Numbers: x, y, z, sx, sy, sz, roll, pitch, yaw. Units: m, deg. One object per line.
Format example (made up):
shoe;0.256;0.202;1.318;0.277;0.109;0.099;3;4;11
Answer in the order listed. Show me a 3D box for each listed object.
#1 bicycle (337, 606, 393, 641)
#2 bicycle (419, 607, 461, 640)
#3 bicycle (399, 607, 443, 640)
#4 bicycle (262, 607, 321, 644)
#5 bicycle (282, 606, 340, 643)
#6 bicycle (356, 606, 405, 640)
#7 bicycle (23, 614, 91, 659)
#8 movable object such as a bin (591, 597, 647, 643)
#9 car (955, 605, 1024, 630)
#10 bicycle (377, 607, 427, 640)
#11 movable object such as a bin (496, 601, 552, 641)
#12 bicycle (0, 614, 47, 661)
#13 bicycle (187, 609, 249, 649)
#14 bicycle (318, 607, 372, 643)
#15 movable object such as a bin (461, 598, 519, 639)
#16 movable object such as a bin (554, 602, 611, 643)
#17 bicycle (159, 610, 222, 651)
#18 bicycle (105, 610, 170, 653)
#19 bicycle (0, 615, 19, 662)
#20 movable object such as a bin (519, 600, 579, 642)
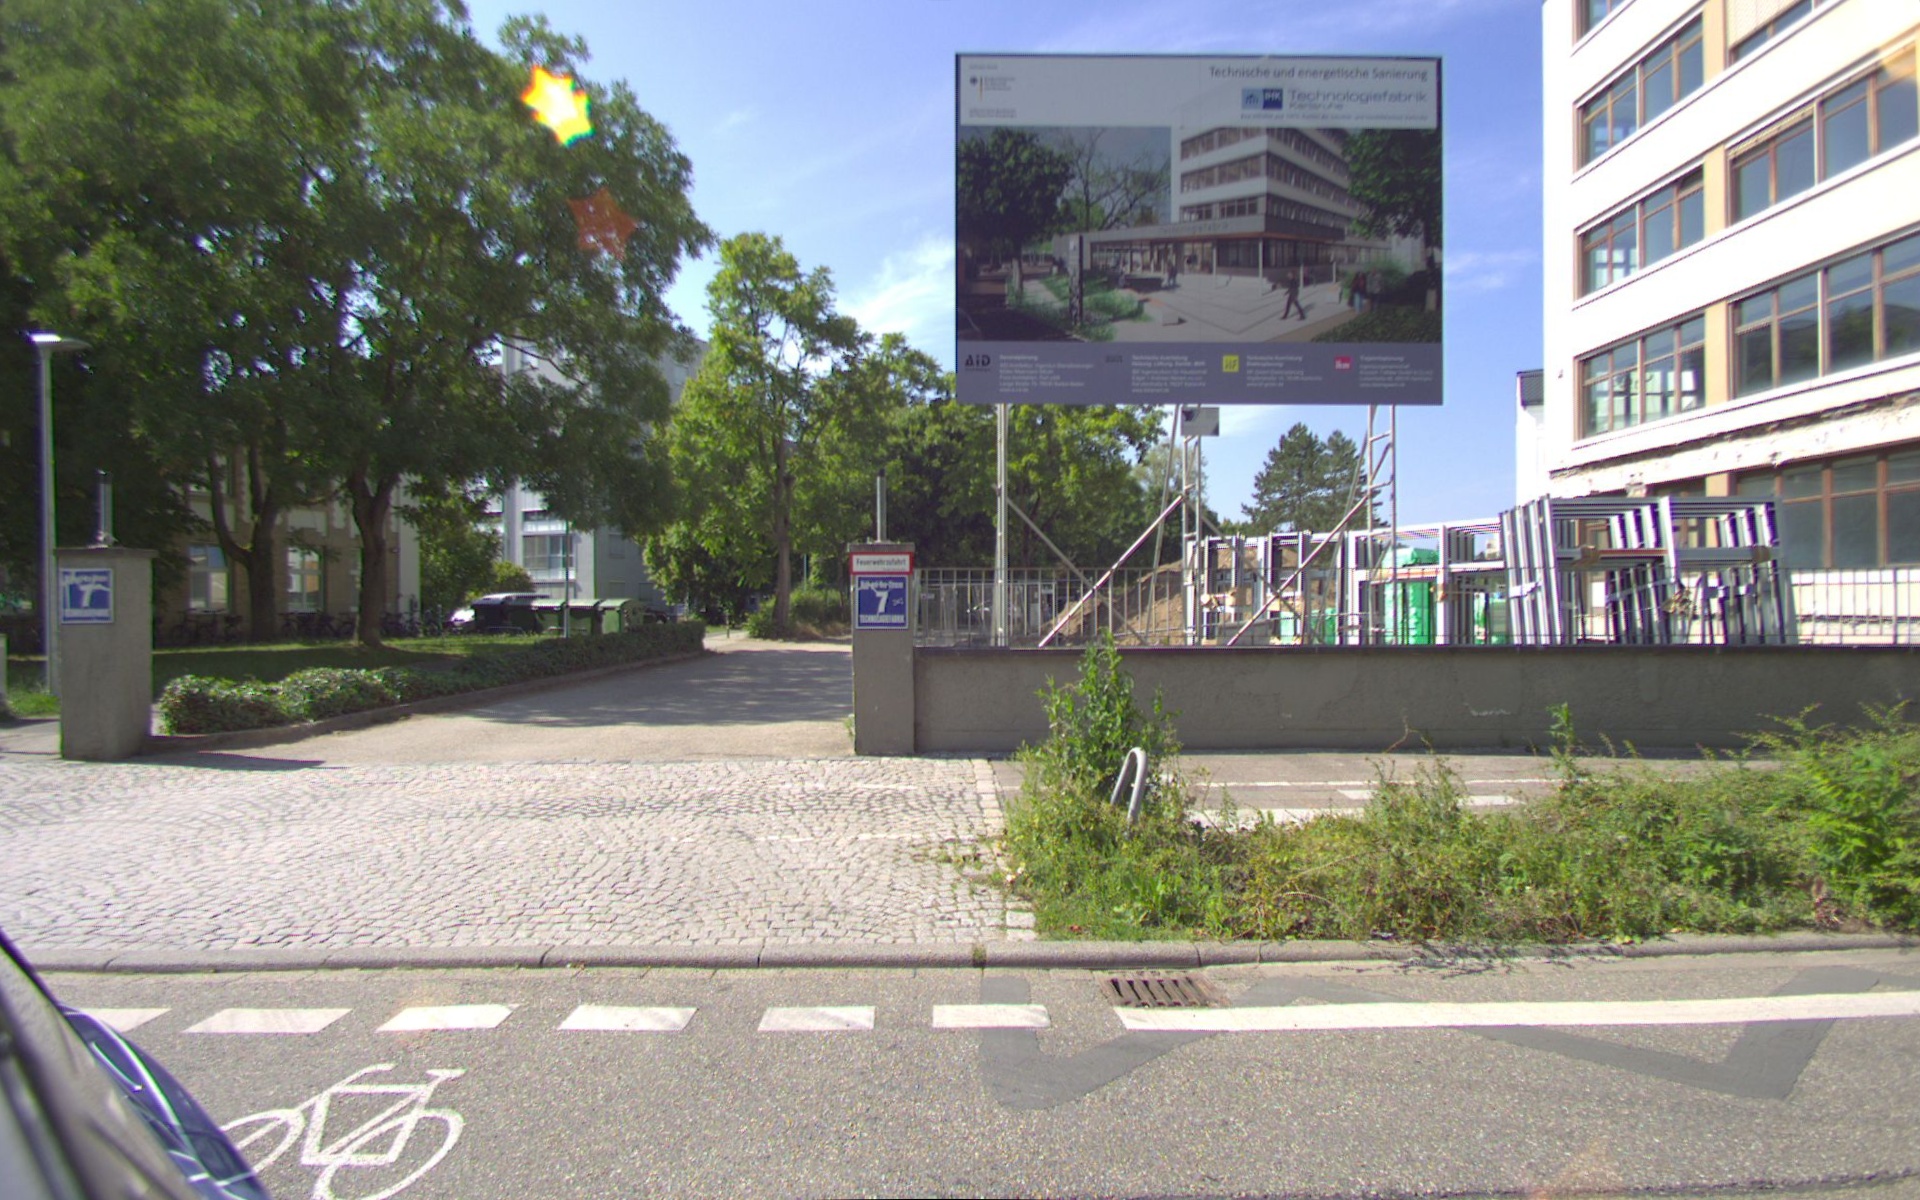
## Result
bicycle;-20.435;0.790;34.737;2.090;1.170;0.583;-1;0;25
bicycle;-19.013;0.858;36.998;1.940;1.170;0.551;-1;0;35
bicycle;-19.476;0.856;36.568;1.798;1.170;0.502;-1;0;30
bicycle;-21.440;0.816;32.457;2.090;1.170;0.583;-1;0;25
bicycle;-21.218;0.802;33.086;2.090;1.170;0.583;-1;0;25
bicycle;-20.183;0.794;35.248;1.903;1.170;0.490;-1;0;25
bicycle;-24.126;0.957;27.036;2.090;1.170;0.583;-1;0;25
movable object such as a bin;-11.245;0.636;33.370;1.390;1.473;1.200;-1;0;37
car;1.858;1.092;64.293;3.970;1.519;1.987;-1;0;20
bicycle;-19.879;0.833;36.049;1.840;1.170;0.608;-1;0;25
movable object such as a bin;-15.240;0.720;35.412;1.343;1.359;1.207;-1;0;22
bicycle;-24.562;0.952;26.221;2.090;1.170;0.583;-1;0;25
bicycle;-22.435;0.879;30.586;2.090;1.170;0.583;-1;0;25
bicycle;-20.675;0.827;34.030;1.911;1.170;0.583;-1;0;25
movable object such as a bin;-16.695;0.664;35.985;1.425;1.420;1.241;-1;0;21
movable object such as a bin;-12.623;0.741;33.848;1.346;1.310;1.207;-1;0;22
bicycle;-22.719;0.880;29.870;2.090;1.170;0.583;-1;0;25
bicycle;-23.308;0.883;28.654;2.090;1.170;0.583;-1;0;25
bicycle;-24.704;0.962;25.604;2.090;1.170;0.583;-1;0;25
movable object such as a bin;-13.987;0.710;34.437;1.491;1.372;1.207;-1;0;22
